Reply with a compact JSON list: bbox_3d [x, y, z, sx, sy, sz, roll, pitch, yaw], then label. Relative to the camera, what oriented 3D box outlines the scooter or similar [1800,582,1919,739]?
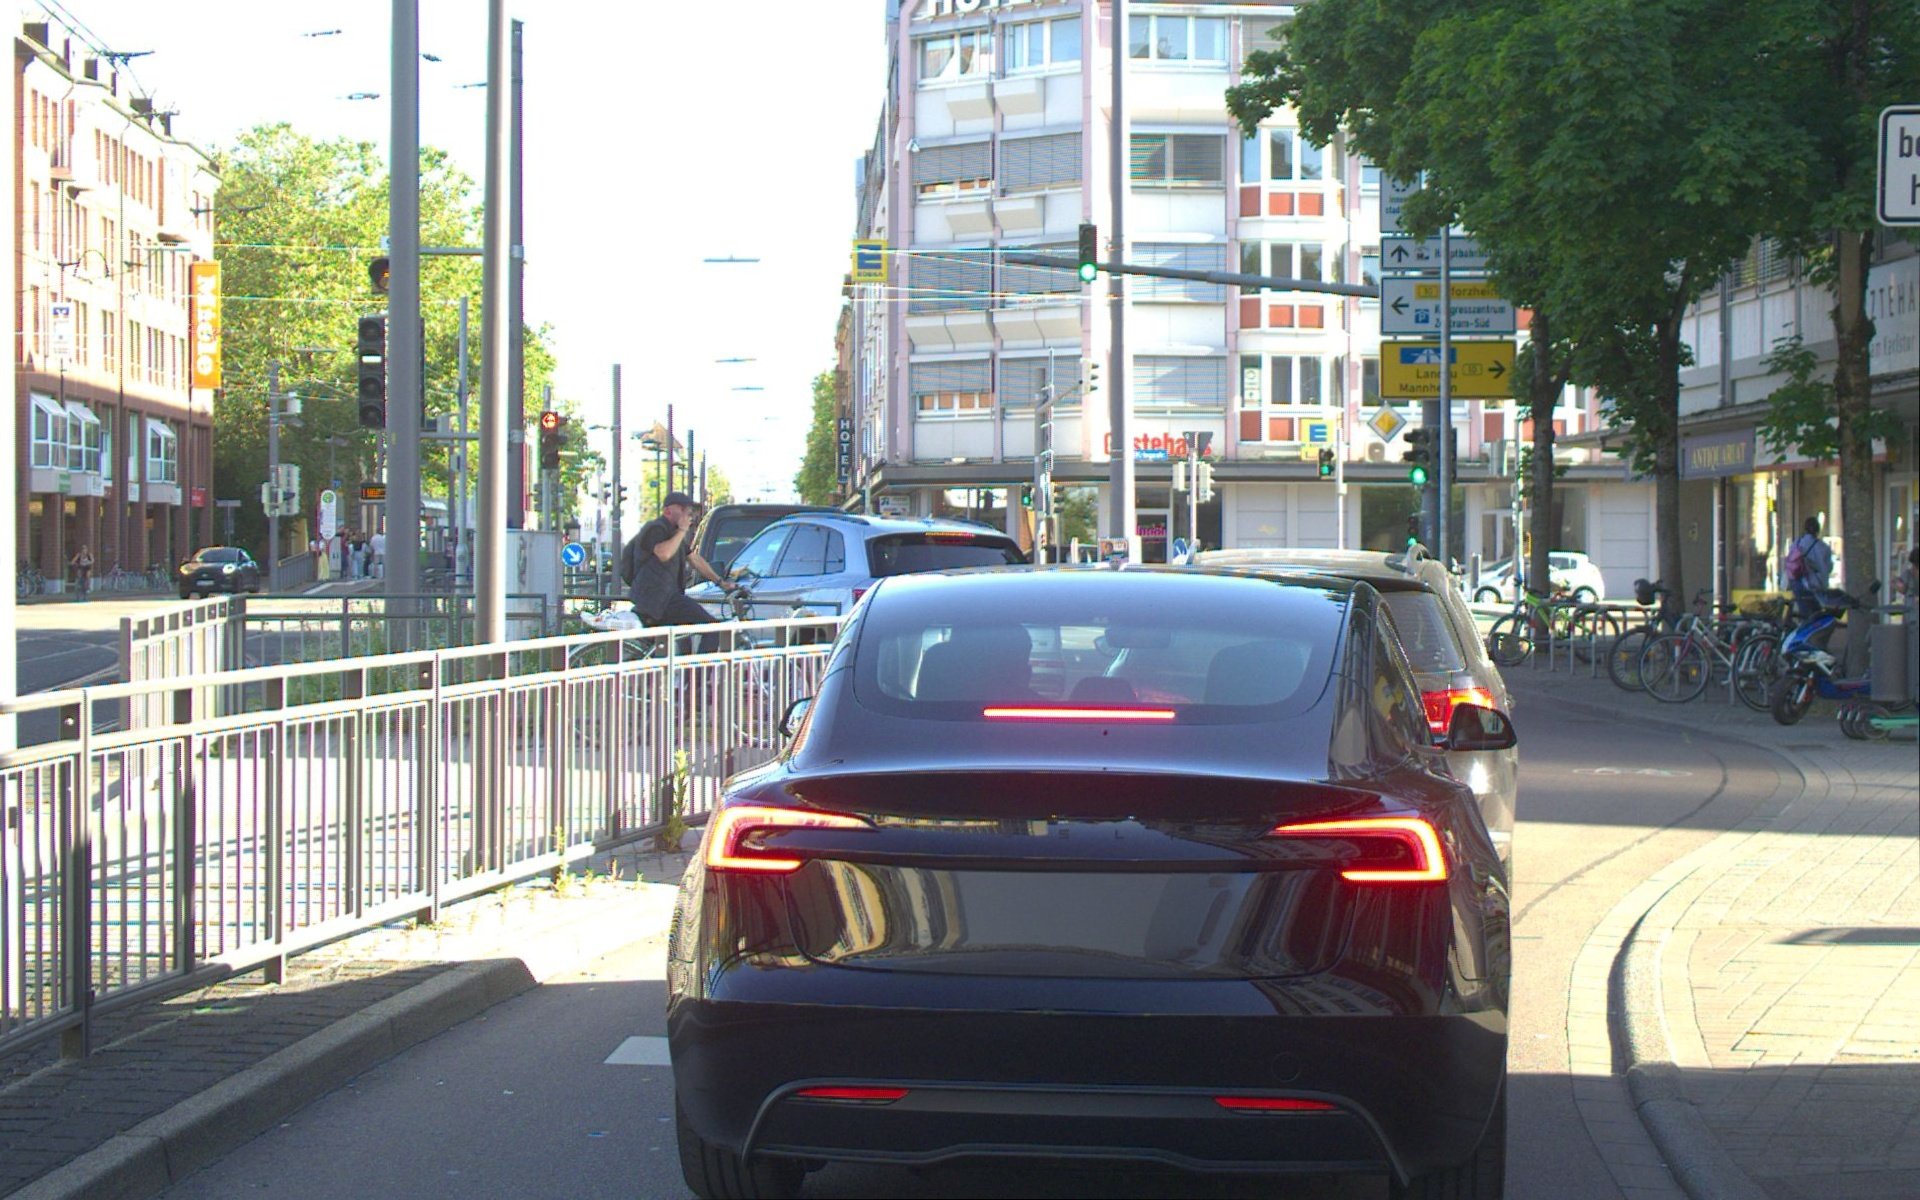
[{"bbox_3d":[7.561,0.476,27.202,1.644,1.211,0.644,1,0,30],"label":"scooter or similar"}]

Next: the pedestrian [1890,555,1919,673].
[{"bbox_3d":[10.942,0.161,39.452,0.389,1.339,0.513,1,0,2],"label":"pedestrian"}]

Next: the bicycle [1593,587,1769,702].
[{"bbox_3d":[7.003,0.436,33.412,1.649,1.095,0.350,1,0,-10],"label":"bicycle"}]

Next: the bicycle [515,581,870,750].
[{"bbox_3d":[-1.721,0.414,22.431,2.329,1.050,0.631,0,1,-38],"label":"bicycle"}]

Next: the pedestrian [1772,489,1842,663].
[{"bbox_3d":[9.905,-0.279,40.201,0.662,2.007,0.579,1,0,2],"label":"pedestrian"}]

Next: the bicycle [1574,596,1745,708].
[{"bbox_3d":[6.984,0.517,34.340,1.649,1.095,0.350,1,0,-10],"label":"bicycle"}]

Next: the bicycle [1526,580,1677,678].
[{"bbox_3d":[7.332,0.331,39.340,1.650,1.095,0.350,1,0,1],"label":"bicycle"}]

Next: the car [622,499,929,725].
[{"bbox_3d":[-1.825,0.078,32.638,1.993,2.007,4.001,0,1,-17],"label":"car"}]

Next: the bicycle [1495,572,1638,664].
[{"bbox_3d":[7.301,0.214,41.398,1.650,1.095,0.350,0,1,1],"label":"bicycle"}]

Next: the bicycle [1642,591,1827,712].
[{"bbox_3d":[7.184,0.479,31.885,1.649,1.095,0.350,1,0,-10],"label":"bicycle"}]

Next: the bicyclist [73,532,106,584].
[{"bbox_3d":[-26.700,-1.288,105.476,0.784,1.558,0.746,1,0,2],"label":"bicyclist"}]

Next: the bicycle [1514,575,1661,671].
[{"bbox_3d":[7.364,0.271,40.353,1.650,1.095,0.350,1,0,1],"label":"bicycle"}]

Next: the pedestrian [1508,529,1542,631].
[{"bbox_3d":[9.556,-0.339,58.143,0.526,1.704,0.403,1,0,8],"label":"pedestrian"}]

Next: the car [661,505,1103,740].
[{"bbox_3d":[-0.698,0.134,26.514,1.883,1.656,4.159,1,1,-25],"label":"car"}]

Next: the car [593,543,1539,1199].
[{"bbox_3d":[0.349,0.609,8.700,1.829,1.450,3.999,1,1,4],"label":"car"}]

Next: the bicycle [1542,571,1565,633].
[{"bbox_3d":[9.967,0.024,57.720,0.332,1.030,1.256,1,0,9],"label":"bicycle"}]

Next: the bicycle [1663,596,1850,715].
[{"bbox_3d":[7.289,0.507,31.462,1.649,1.057,0.350,1,0,-10],"label":"bicycle"}]

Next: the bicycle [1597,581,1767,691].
[{"bbox_3d":[7.421,0.368,35.361,1.650,1.095,0.350,1,0,1],"label":"bicycle"}]

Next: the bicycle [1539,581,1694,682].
[{"bbox_3d":[7.312,0.345,38.313,1.650,1.095,0.350,1,0,1],"label":"bicycle"}]

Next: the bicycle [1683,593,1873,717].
[{"bbox_3d":[7.386,0.499,31.040,1.649,1.095,0.350,1,0,-10],"label":"bicycle"}]

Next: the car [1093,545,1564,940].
[{"bbox_3d":[1.590,0.502,14.982,1.751,1.449,3.999,1,1,6],"label":"car"}]

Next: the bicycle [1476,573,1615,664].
[{"bbox_3d":[7.234,0.223,42.492,1.650,1.095,0.350,1,0,1],"label":"bicycle"}]

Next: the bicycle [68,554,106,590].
[{"bbox_3d":[-26.730,-0.860,105.284,0.529,1.085,2.224,1,1,1],"label":"bicycle"}]

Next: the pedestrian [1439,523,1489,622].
[{"bbox_3d":[8.487,-0.461,57.934,0.699,1.656,0.777,1,0,-1],"label":"pedestrian"}]

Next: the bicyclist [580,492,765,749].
[{"bbox_3d":[-1.868,0.122,22.283,0.758,1.623,0.978,0,1,-39],"label":"bicyclist"}]

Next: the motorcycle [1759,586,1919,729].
[{"bbox_3d":[7.718,0.488,29.213,1.707,1.169,0.541,1,0,-2],"label":"motorcycle"}]

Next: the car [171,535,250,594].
[{"bbox_3d":[-22.465,-1.071,103.092,1.697,1.725,3.707,1,1,-3],"label":"car"}]
